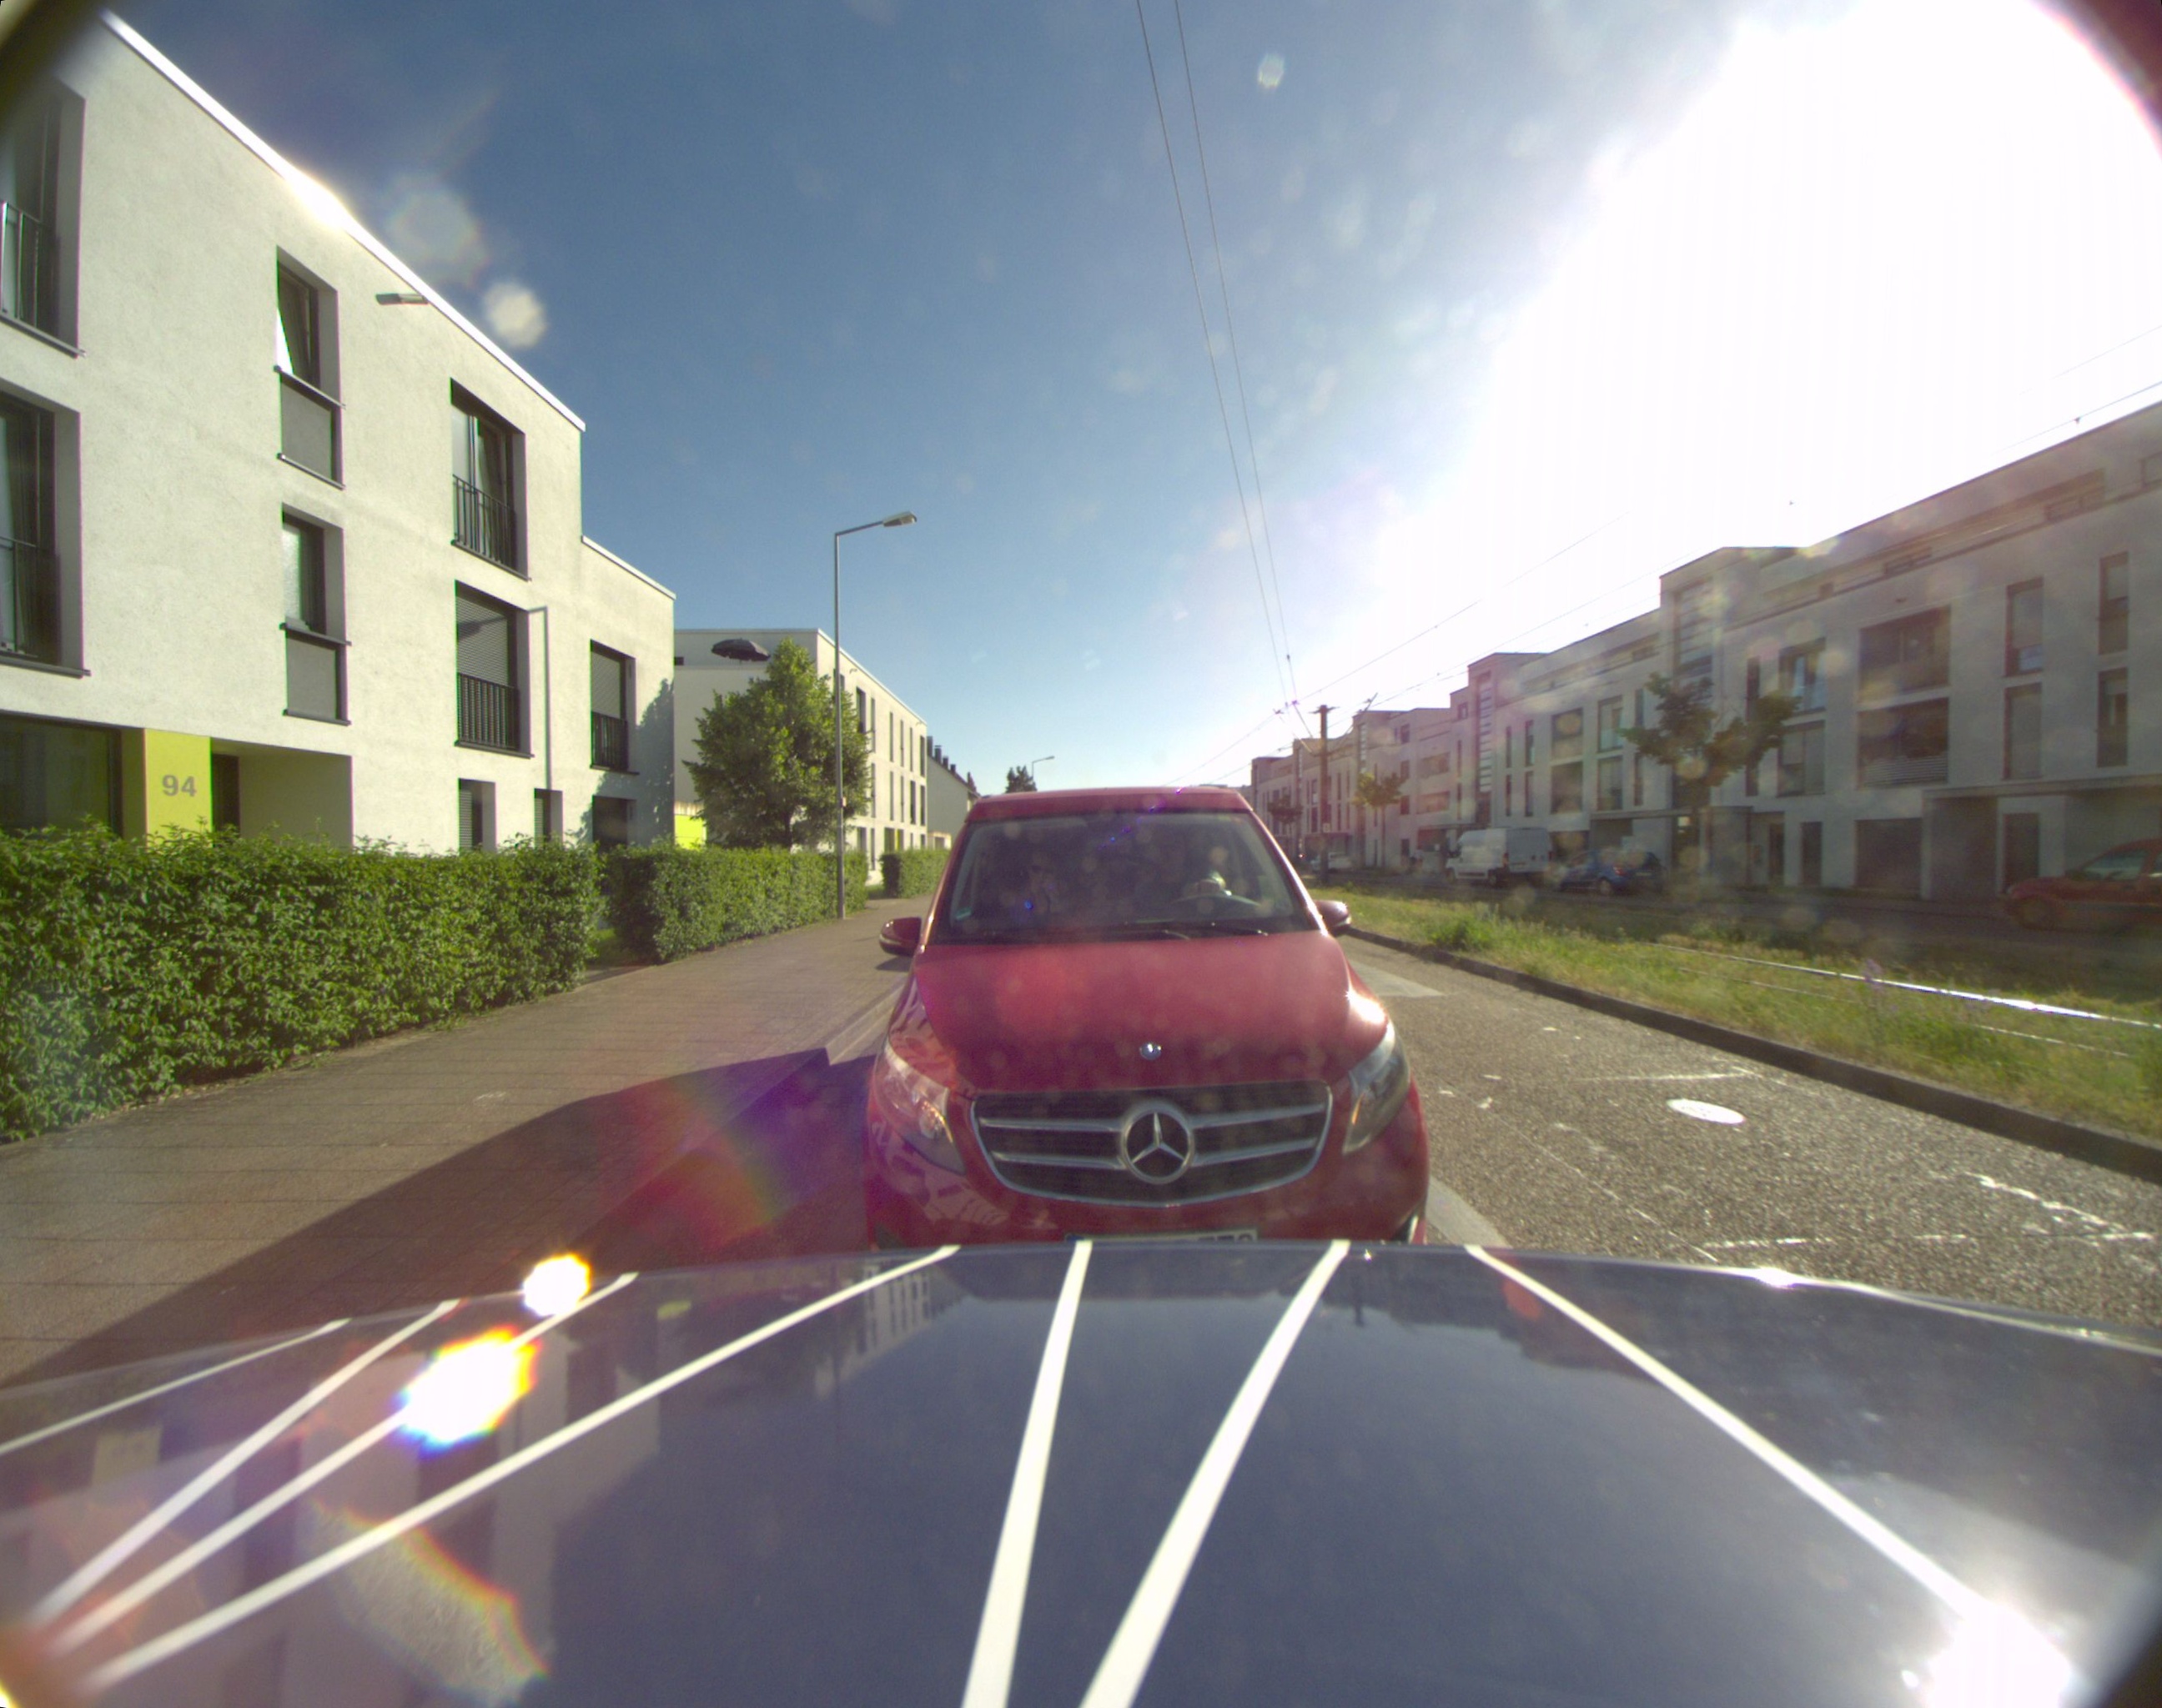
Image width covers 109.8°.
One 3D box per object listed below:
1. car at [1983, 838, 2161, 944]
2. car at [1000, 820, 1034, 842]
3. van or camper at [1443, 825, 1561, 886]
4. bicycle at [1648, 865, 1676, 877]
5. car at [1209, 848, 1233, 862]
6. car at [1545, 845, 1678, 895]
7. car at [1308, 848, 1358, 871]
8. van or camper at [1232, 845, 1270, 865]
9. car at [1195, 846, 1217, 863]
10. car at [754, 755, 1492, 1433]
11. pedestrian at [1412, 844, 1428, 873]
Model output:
[{"bbox_3d":[18.468,0.608,12.829,1.793,1.713,3.908,1,1,1],"label":"car"},{"bbox_3d":[-7.349,-2.573,88.180,3.182,2.333,6.174,-2,1,1],"label":"car"},{"bbox_3d":[18.152,0.028,33.140,2.197,2.450,5.259,0,1,0],"label":"van or camper"},{"bbox_3d":[24.966,0.725,32.667,0.354,0.495,1.061,0,0,-1],"label":"bicycle"},{"bbox_3d":[15.871,0.128,86.334,1.867,1.430,3.496,-2,0,-4],"label":"car"},{"bbox_3d":[18.251,0.498,26.391,1.934,1.604,3.835,0,1,0],"label":"car"},{"bbox_3d":[17.746,0.364,53.720,2.047,1.577,4.120,0,1,-3],"label":"car"},{"bbox_3d":[16.758,0.039,75.206,2.273,1.838,6.284,-1,1,-1],"label":"van or camper"},{"bbox_3d":[15.377,0.064,93.856,1.788,2.002,3.998,-2,1,-4],"label":"car"},{"bbox_3d":[0.162,0.713,4.805,2.127,1.958,5.083,-2,0,1],"label":"car"},{"bbox_3d":[19.929,0.253,44.682,0.619,1.634,0.612,-2,1,-7],"label":"pedestrian"}]
